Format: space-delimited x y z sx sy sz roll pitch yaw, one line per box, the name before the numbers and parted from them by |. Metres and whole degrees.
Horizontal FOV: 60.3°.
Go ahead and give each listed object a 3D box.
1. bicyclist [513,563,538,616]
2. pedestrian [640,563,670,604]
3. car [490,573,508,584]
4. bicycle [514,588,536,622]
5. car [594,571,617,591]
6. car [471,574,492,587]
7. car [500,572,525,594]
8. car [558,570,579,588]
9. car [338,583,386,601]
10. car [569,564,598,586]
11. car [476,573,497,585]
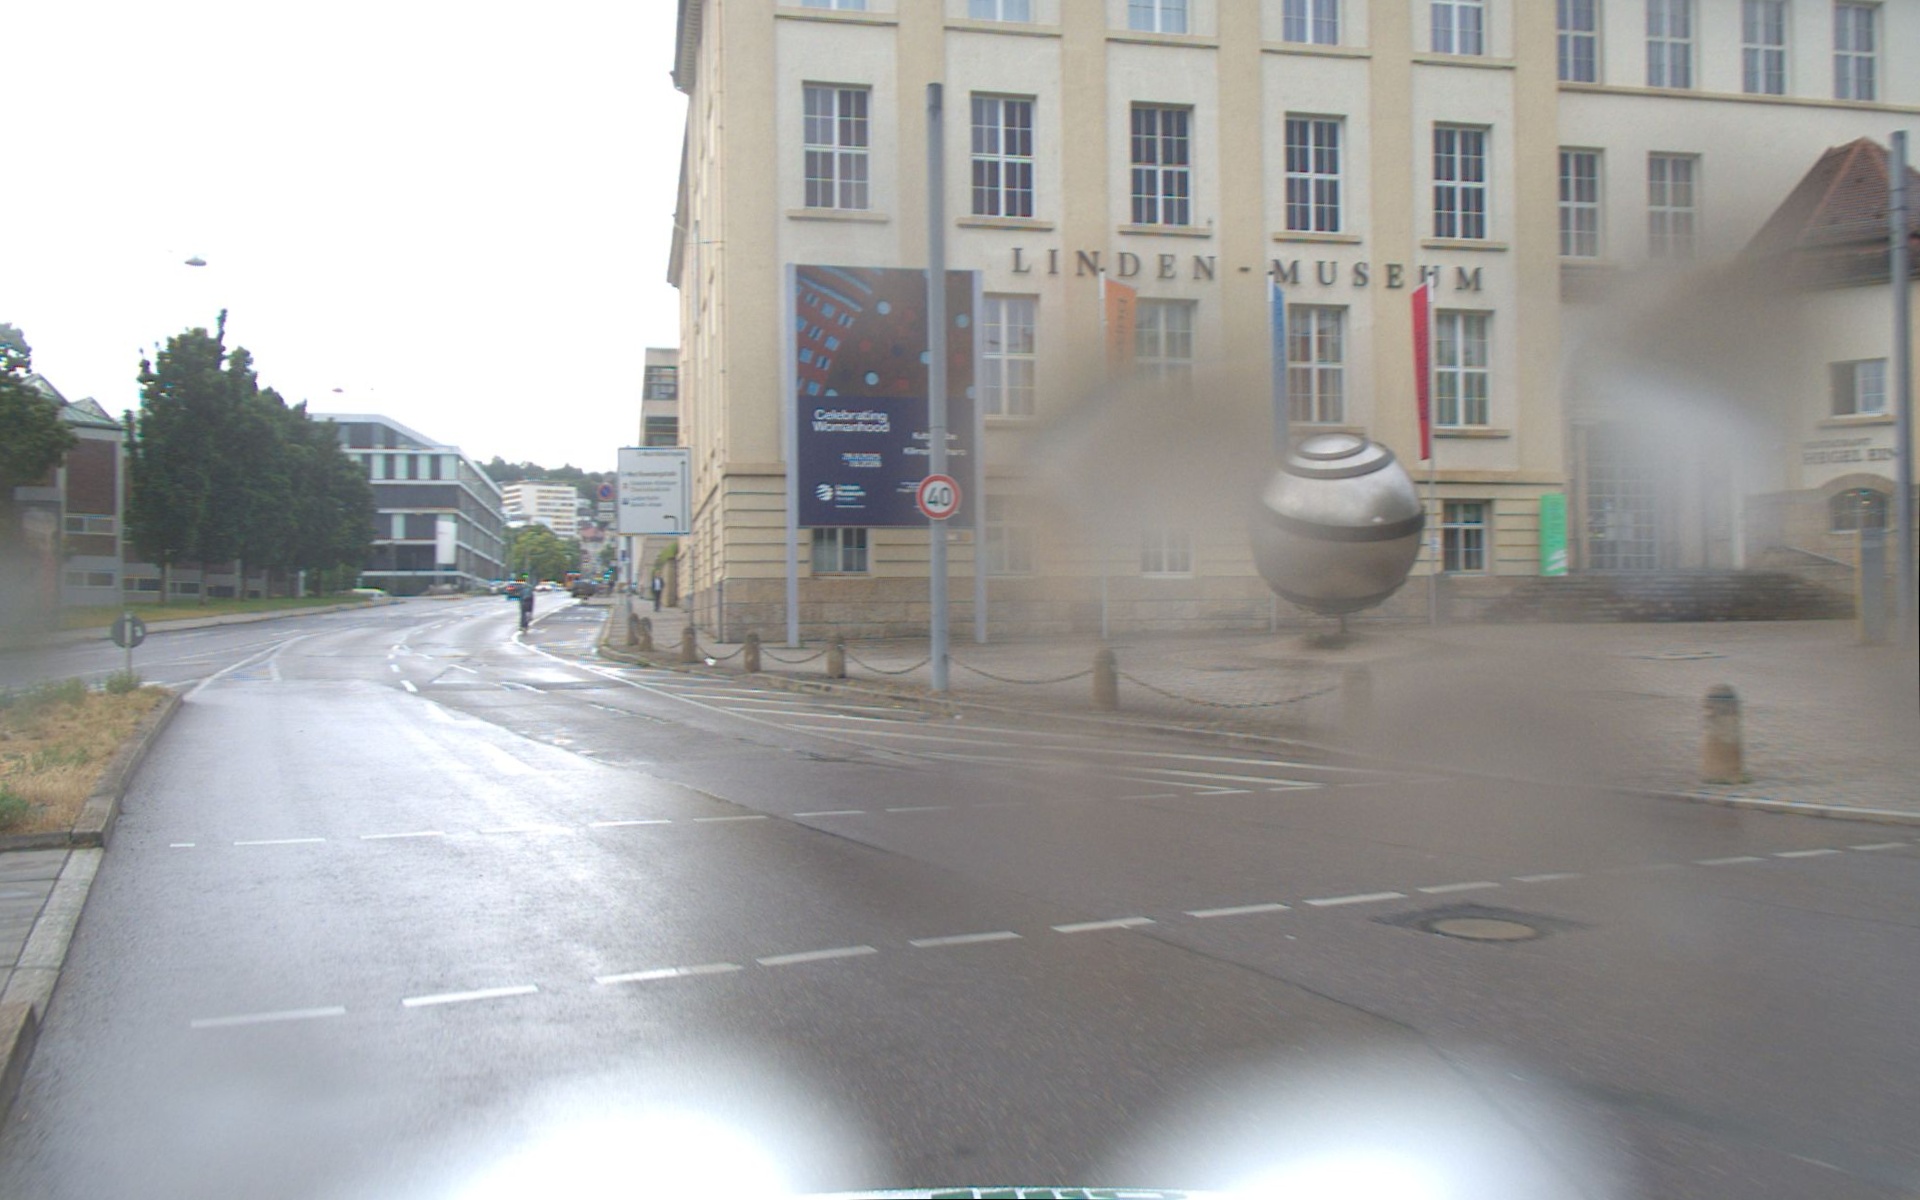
bicyclist | -13.776 -0.333 52.480 0.688 1.661 1.125 0 1 -12
pedestrian | -14.215 -0.773 77.141 1.217 1.819 1.592 -3 1 -9
car | -57.107 -2.715 204.869 1.804 1.256 3.410 1 2 -8
bicycle | -13.791 0.156 52.469 0.635 1.075 1.814 0 0 -14
car | -30.805 -1.657 143.776 1.806 1.587 3.991 0 2 -11
car | -53.295 -2.196 184.103 1.804 1.256 3.410 1 2 -8
car | -36.575 -1.397 135.173 1.860 1.653 3.635 0 2 -13
car | -38.549 -2.087 163.052 1.806 1.587 3.991 0 2 -11
car | -71.492 -0.917 197.727 5.136 2.049 1.994 0 1 -13
car | -28.300 -1.890 124.431 1.804 1.587 3.994 1 2 -8
car | -54.013 -2.392 188.683 1.804 1.256 3.410 1 2 -8
